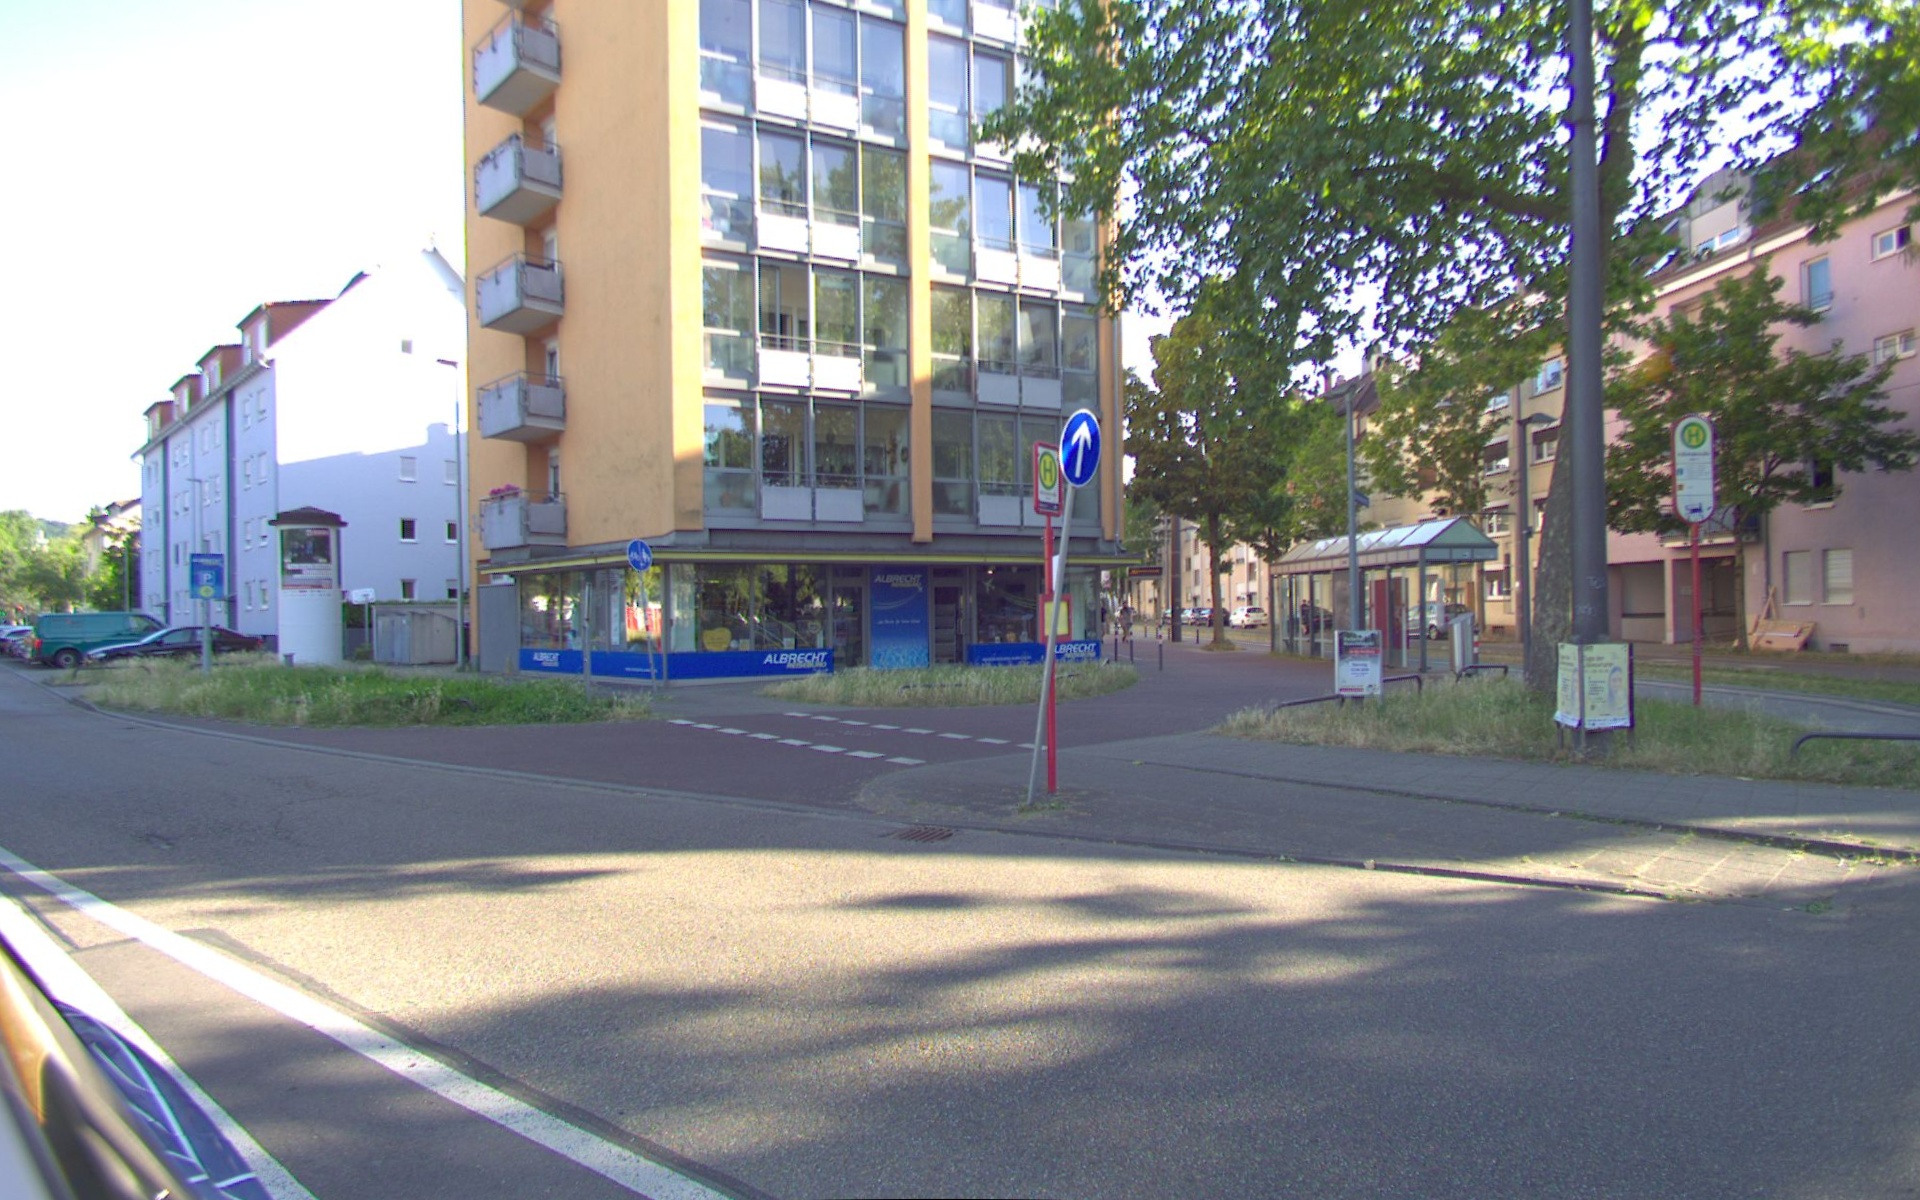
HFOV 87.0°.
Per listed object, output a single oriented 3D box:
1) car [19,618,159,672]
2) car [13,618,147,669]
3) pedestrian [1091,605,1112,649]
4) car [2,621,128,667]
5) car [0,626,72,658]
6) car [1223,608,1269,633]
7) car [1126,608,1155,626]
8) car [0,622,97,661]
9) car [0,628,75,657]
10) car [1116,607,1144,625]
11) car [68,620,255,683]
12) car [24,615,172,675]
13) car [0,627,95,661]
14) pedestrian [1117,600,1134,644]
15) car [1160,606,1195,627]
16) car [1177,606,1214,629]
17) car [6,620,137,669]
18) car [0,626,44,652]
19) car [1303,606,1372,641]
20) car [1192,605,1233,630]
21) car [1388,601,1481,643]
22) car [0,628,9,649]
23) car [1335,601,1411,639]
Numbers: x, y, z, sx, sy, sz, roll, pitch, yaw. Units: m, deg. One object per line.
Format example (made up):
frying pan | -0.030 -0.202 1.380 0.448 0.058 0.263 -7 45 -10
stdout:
car | -33.120 1.653 38.538 3.941 1.829 2.001 -1 0 -44
car | -35.120 1.679 40.440 3.941 1.829 2.001 -1 0 -44
pedestrian | 5.697 1.100 40.877 0.803 1.763 0.538 -1 0 6
car | -38.827 1.870 43.936 4.016 1.765 1.900 -1 0 -44
car | -55.792 2.478 60.442 4.016 1.765 1.900 -1 0 -44
car | 19.173 1.347 68.057 1.741 1.588 4.049 -1 0 -3
car | 17.786 1.639 99.878 1.911 1.719 4.003 -1 0 -3
car | -46.117 2.043 50.873 4.061 1.785 1.758 -1 0 -44
car | -55.658 2.508 60.388 4.199 1.585 1.867 -1 0 -44
car | 17.736 1.639 105.551 1.911 1.719 4.372 -1 0 -3
car | -24.272 1.513 30.871 4.361 1.674 2.003 -1 0 -41
car | -31.215 1.561 36.694 2.001 1.962 3.942 -1 0 44
car | -48.119 2.280 52.964 4.199 1.585 1.867 -1 0 -44
pedestrian | 6.654 0.880 40.776 0.622 1.763 0.689 -1 0 6
car | 18.432 1.395 85.805 1.830 1.719 4.170 -1 0 -3
car | 18.644 1.353 80.351 1.771 1.719 4.170 -1 0 -3
car | -36.857 1.812 42.018 4.003 1.829 1.938 -1 0 -44
car | -63.494 2.610 67.001 4.199 1.585 1.867 -1 0 -44
car | 19.917 1.203 53.605 1.911 1.719 4.115 -1 0 -3
car | 18.706 1.268 75.162 1.808 1.719 4.059 -1 0 -3
car | 20.747 0.909 44.437 1.911 1.719 4.115 -1 0 -3
car | -74.758 2.995 76.970 3.490 1.585 1.867 -1 0 -44
car | 19.906 0.919 48.992 1.911 1.719 3.827 -1 0 -3
